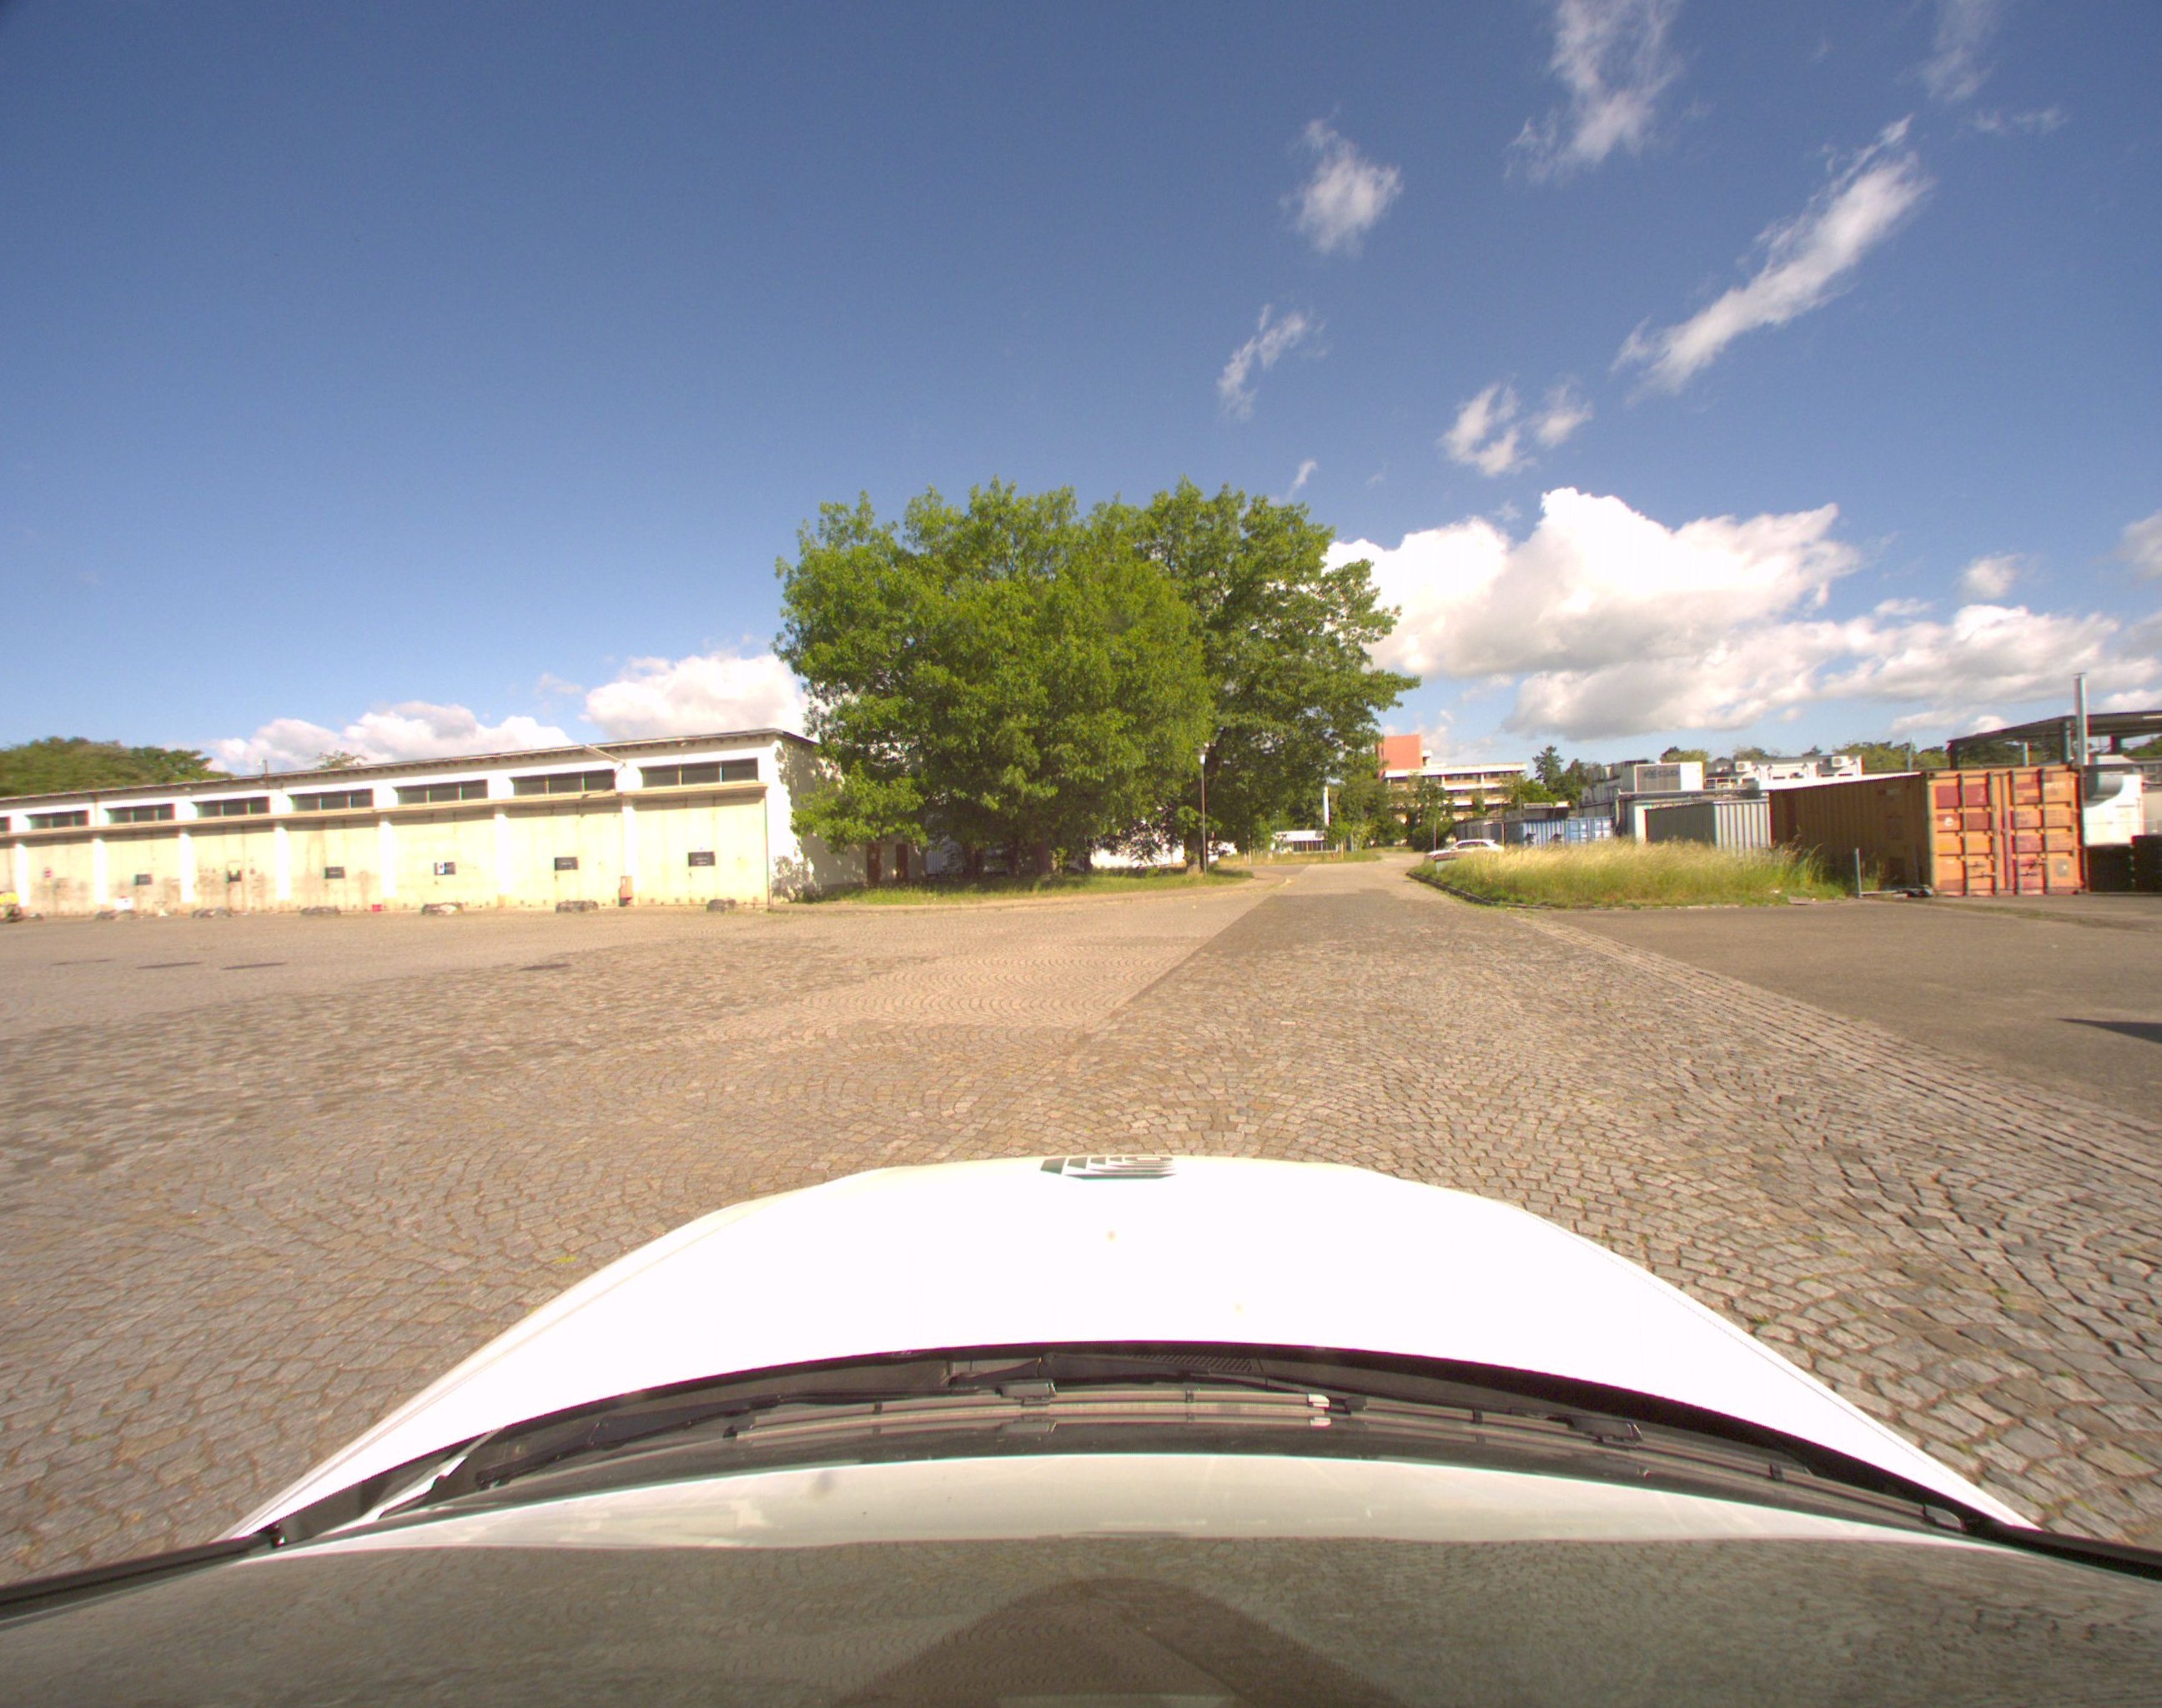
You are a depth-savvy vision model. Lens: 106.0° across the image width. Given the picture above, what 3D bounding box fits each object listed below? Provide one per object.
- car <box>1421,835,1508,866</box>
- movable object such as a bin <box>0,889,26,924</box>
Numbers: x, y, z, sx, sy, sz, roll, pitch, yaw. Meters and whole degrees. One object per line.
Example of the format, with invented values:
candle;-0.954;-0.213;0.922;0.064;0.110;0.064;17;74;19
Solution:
car;23.397;-0.206;49.878;4.470;1.647;2.008;-2;0;15
movable object such as a bin;-44.865;2.176;33.852;1.089;1.401;0.881;-2;0;16
